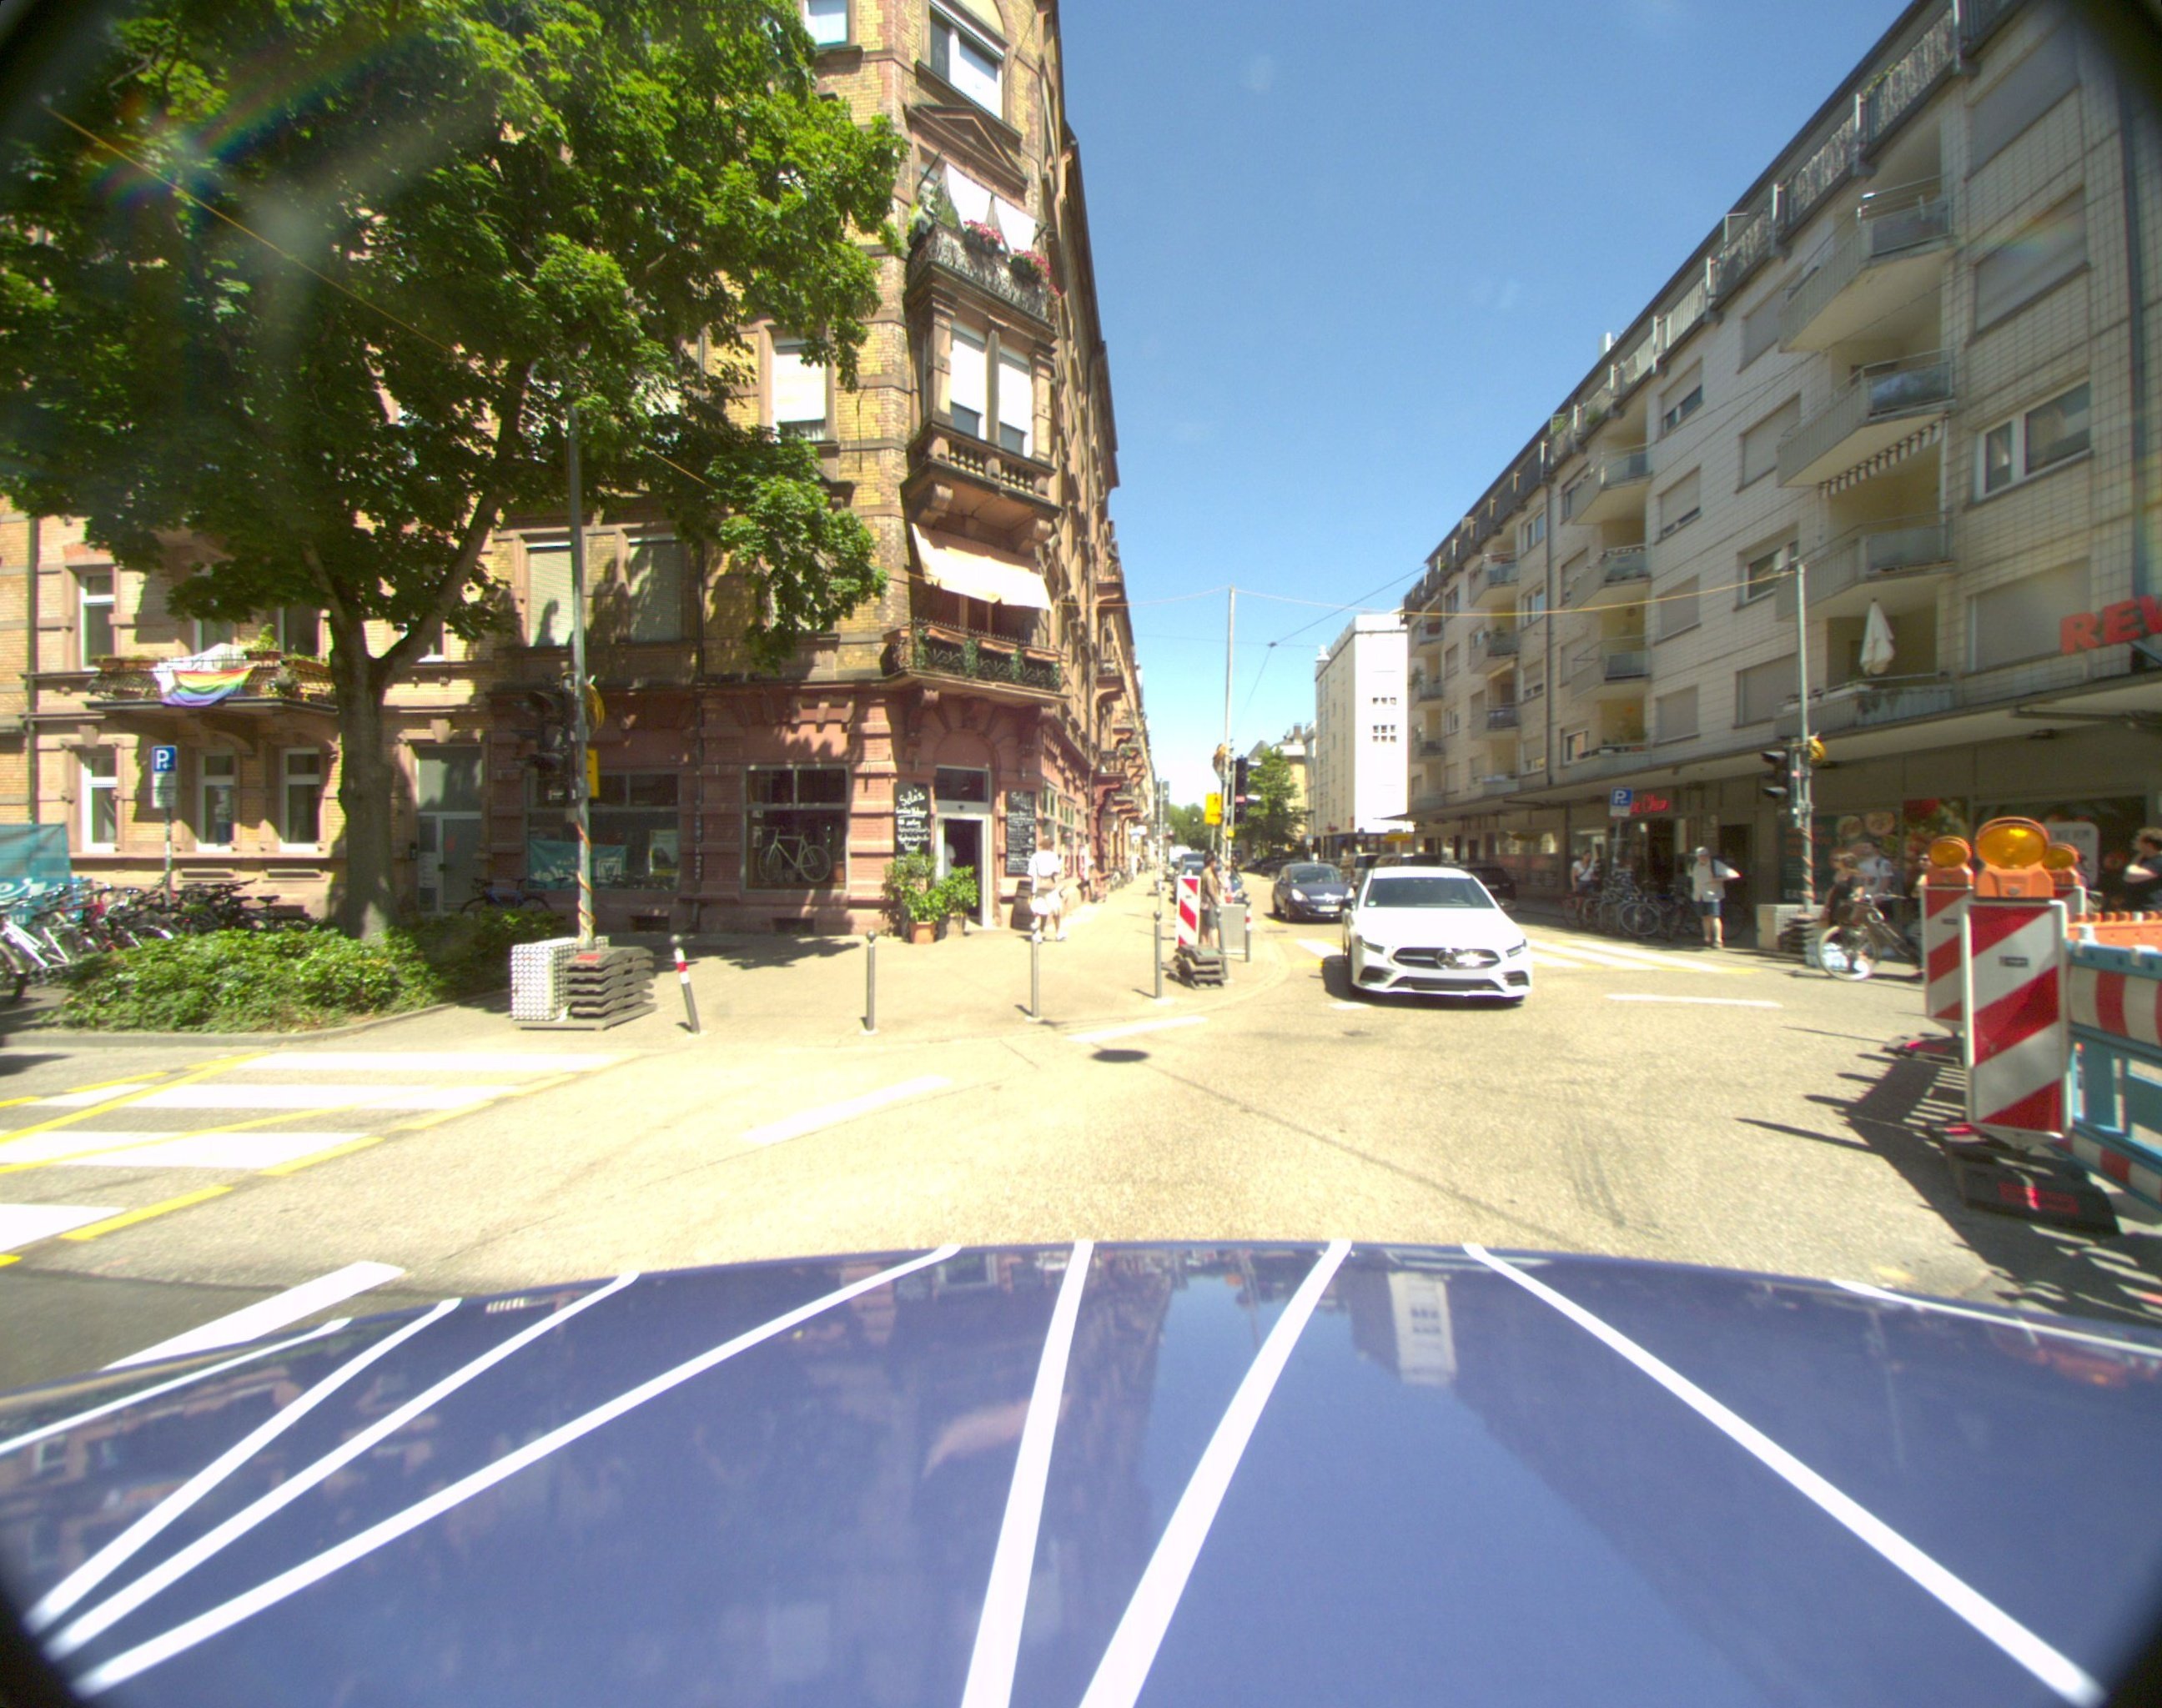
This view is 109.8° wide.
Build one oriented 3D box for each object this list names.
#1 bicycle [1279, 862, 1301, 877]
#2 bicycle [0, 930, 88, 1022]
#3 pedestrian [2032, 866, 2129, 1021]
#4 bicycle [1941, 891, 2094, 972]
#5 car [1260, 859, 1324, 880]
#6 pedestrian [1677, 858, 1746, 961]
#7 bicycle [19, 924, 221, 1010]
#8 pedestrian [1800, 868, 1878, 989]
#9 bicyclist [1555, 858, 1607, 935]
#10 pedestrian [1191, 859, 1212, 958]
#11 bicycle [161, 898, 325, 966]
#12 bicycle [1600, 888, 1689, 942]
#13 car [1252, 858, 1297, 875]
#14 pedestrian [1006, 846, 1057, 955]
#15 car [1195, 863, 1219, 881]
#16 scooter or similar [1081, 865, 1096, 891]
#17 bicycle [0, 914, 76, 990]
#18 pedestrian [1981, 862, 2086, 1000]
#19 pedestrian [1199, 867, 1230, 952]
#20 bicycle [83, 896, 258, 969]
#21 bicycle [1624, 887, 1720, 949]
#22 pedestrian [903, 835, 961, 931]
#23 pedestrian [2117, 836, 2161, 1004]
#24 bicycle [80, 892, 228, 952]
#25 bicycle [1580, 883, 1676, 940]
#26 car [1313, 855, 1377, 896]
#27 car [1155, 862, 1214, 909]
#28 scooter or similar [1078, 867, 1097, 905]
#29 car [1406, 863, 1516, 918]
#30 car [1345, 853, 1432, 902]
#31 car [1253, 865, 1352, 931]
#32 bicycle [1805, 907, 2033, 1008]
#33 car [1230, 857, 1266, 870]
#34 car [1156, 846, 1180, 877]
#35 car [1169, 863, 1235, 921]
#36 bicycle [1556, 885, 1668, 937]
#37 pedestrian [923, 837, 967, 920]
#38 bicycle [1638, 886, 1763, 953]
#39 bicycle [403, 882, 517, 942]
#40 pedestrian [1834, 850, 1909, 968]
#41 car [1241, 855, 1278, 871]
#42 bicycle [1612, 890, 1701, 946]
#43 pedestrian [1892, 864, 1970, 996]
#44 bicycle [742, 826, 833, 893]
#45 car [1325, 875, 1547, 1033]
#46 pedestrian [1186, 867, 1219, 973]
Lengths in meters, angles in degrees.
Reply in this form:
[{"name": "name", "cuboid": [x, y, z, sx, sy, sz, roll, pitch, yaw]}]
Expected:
[{"name": "bicycle", "cuboid": [16.801, 1.246, 61.054, 1.608, 1.084, 0.371, -2, 0, 11]}, {"name": "bicycle", "cuboid": [-11.769, 1.288, 8.204, 1.742, 0.867, 0.509, 0, 0, 9]}, {"name": "pedestrian", "cuboid": [10.732, 0.936, 8.169, 0.390, 1.608, 0.475, 0, 1, 4]}, {"name": "bicycle", "cuboid": [13.890, 1.111, 11.327, 0.322, 1.080, 1.431, -1, -1, -13]}, {"name": "car", "cuboid": [14.614, 1.037, 52.725, 3.880, 1.417, 1.819, 0, 0, 38]}, {"name": "pedestrian", "cuboid": [10.790, 0.929, 13.020, 0.657, 1.716, 0.632, 0, 1, 3]}, {"name": "bicycle", "cuboid": [-11.173, 1.290, 8.842, 2.071, 0.867, 0.509, 0, 0, 9]}, {"name": "pedestrian", "cuboid": [10.450, 1.009, 10.492, 0.542, 1.623, 0.511, 0, 1, 3]}, {"name": "bicyclist", "cuboid": [11.439, 0.947, 17.411, 0.624, 1.696, 0.980, -2, 0, 12]}, {"name": "pedestrian", "cuboid": [2.066, 0.926, 13.041, 0.333, 1.666, 0.402, 0, 1, 12]}, {"name": "bicycle", "cuboid": [-11.804, 1.077, 10.710, 2.071, 0.867, 0.509, 0, 0, 9]}, {"name": "bicycle", "cuboid": [11.586, 1.254, 15.638, 1.497, 1.024, 0.398, -2, 0, 2]}, {"name": "car", "cuboid": [18.291, 1.176, 71.882, 3.883, 1.520, 1.653, 0, 0, 5]}, {"name": "pedestrian", "cuboid": [-0.803, 0.727, 12.486, 0.478, 1.723, 0.873, 0, 2, 25]}, {"name": "car", "cuboid": [10.775, 1.517, 65.064, 1.747, 1.382, 4.002, 0, 0, 5]}, {"name": "scooter or similar", "cuboid": [0.357, 1.100, 35.669, 0.477, 1.146, 2.150, 0, 0, 6]}, {"name": "bicycle", "cuboid": [-13.897, 1.212, 9.619, 2.071, 0.867, 0.509, 0, 0, 9]}, {"name": "pedestrian", "cuboid": [11.703, 0.920, 9.351, 0.510, 1.623, 0.600, 0, 1, 4]}, {"name": "pedestrian", "cuboid": [2.483, 1.020, 14.126, 0.493, 1.534, 0.437, 3, 1, 12]}, {"name": "bicycle", "cuboid": [-12.100, 1.022, 10.102, 2.071, 0.867, 0.509, 0, 0, 9]}, {"name": "bicycle", "cuboid": [11.342, 1.217, 14.600, 1.523, 1.110, 0.335, -2, 0, 2]}, {"name": "pedestrian", "cuboid": [-2.925, 0.551, 14.929, 0.944, 1.809, 0.455, 0, 4, -41]}, {"name": "pedestrian", "cuboid": [11.904, 0.715, 8.227, 0.510, 1.809, 0.600, 0, 1, 4]}, {"name": "bicycle", "cuboid": [-14.648, 1.054, 12.016, 2.071, 0.867, 0.509, 0, 0, 9]}, {"name": "bicycle", "cuboid": [11.628, 1.219, 16.180, 1.587, 1.132, 0.527, -2, 0, 5]}, {"name": "car", "cuboid": [12.708, 0.977, 36.874, 1.792, 1.818, 4.903, -1, 0, 6]}, {"name": "car", "cuboid": [3.576, 1.046, 26.863, 1.729, 1.424, 4.487, 1, 0, 4]}, {"name": "scooter or similar", "cuboid": [0.225, 1.024, 24.486, 0.293, 1.170, 1.273, 0, 0, 15]}, {"name": "car", "cuboid": [11.907, 1.092, 24.140, 1.673, 1.516, 4.466, -1, 0, 6]}, {"name": "car", "cuboid": [12.250, 0.886, 30.591, 1.793, 1.800, 4.700, -1, 0, 3]}, {"name": "car", "cuboid": [5.730, 1.085, 20.083, 1.779, 1.460, 4.002, -1, 0, 6]}, {"name": "bicycle", "cuboid": [10.108, 1.217, 9.249, 1.806, 1.112, 0.469, -1, 0, 27]}, {"name": "car", "cuboid": [19.735, 1.113, 89.911, 3.883, 1.487, 1.653, 0, 0, 5]}, {"name": "car", "cuboid": [8.050, 0.684, 70.900, 2.067, 2.686, 5.041, -1, 0, 6]}, {"name": "car", "cuboid": [3.348, 1.001, 21.397, 1.630, 1.424, 3.662, 1, 0, 7]}, {"name": "bicycle", "cuboid": [11.668, 1.247, 16.735, 1.937, 1.085, 0.605, -1, 0, 8]}, {"name": "pedestrian", "cuboid": [-2.916, 0.510, 16.274, 0.725, 1.709, 0.495, 0, 3, -39]}, {"name": "bicycle", "cuboid": [11.415, 1.198, 14.026, 1.802, 1.116, 0.578, -2, 1, 0]}, {"name": "bicycle", "cuboid": [-10.949, 1.007, 13.414, 1.694, 1.002, 0.523, 0, 0, 6]}, {"name": "pedestrian", "cuboid": [12.050, 0.815, 11.596, 0.510, 1.760, 0.600, 0, 1, 4]}, {"name": "car", "cuboid": [19.787, 1.003, 84.272, 3.883, 1.737, 1.653, 0, 0, 5]}, {"name": "bicycle", "cuboid": [11.356, 1.260, 15.011, 1.451, 1.030, 0.335, -2, 0, 2]}, {"name": "pedestrian", "cuboid": [10.418, 0.912, 9.329, 0.496, 1.556, 0.460, -2, 0, 32]}, {"name": "bicycle", "cuboid": [-5.128, 0.088, 13.310, 1.424, 1.145, 0.510, 0, 1, 8]}, {"name": "car", "cuboid": [4.125, 1.032, 9.549, 1.812, 1.417, 4.247, -1, -1, 15]}, {"name": "pedestrian", "cuboid": [1.853, 0.984, 11.545, 0.460, 1.551, 0.479, 0, 1, 12]}]
